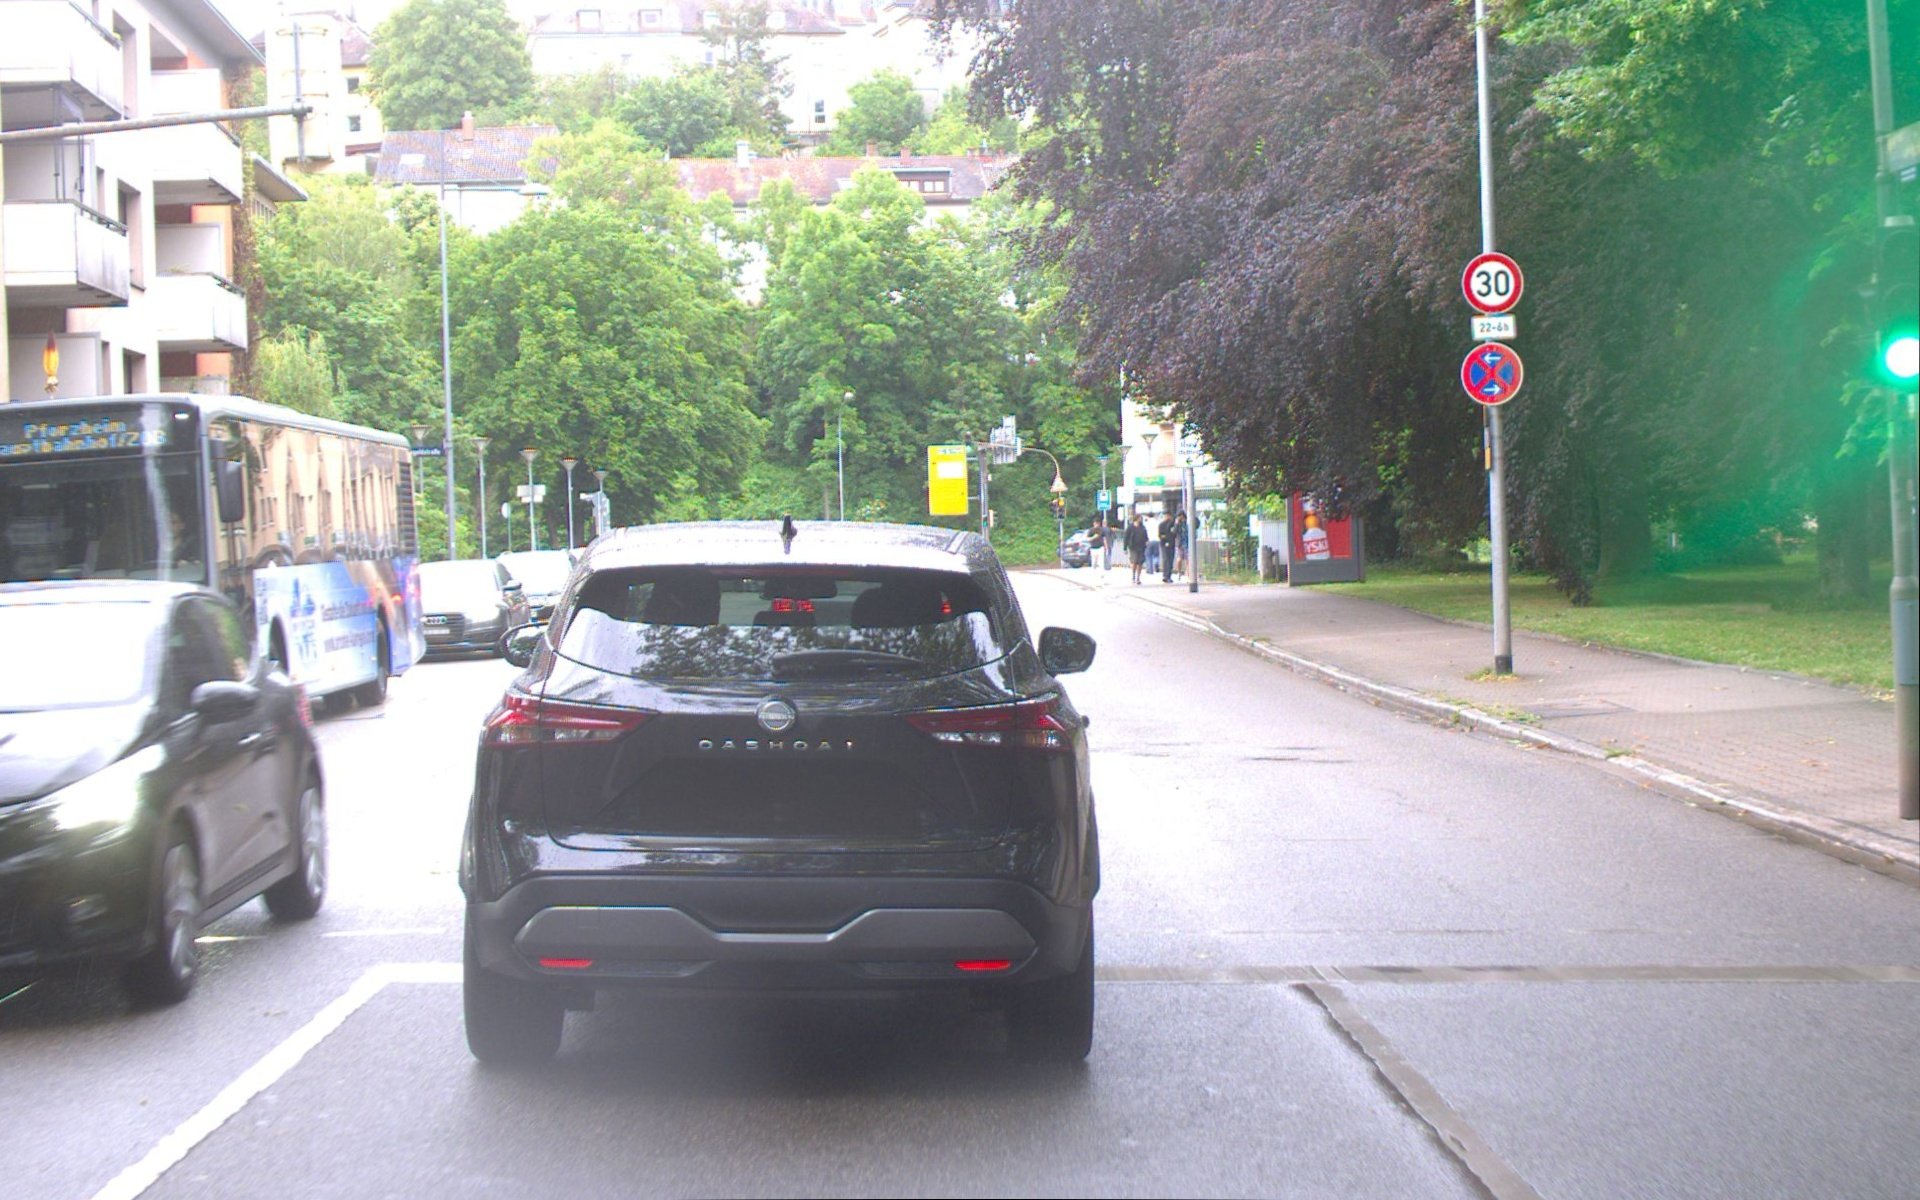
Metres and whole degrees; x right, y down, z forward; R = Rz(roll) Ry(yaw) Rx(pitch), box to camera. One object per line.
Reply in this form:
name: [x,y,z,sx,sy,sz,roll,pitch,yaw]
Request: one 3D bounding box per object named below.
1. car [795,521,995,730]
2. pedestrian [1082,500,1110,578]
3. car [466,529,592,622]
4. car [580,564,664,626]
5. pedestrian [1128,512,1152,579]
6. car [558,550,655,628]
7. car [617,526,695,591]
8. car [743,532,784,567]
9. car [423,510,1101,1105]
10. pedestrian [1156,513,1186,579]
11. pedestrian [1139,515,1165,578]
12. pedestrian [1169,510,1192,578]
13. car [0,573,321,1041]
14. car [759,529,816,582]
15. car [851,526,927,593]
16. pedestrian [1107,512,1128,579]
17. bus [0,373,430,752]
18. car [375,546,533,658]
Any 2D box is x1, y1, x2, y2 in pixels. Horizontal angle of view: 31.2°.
car: [-0.531,0.185,30.993,1.622,1.703,3.771,-2,1,1]
pedestrian: [3.815,-1.723,96.605,0.768,2.176,0.711,1,0,2]
car: [-7.467,-0.453,59.844,1.747,1.464,4.217,-3,1,-2]
car: [-7.897,-0.133,80.662,1.676,1.291,3.752,-3,1,-2]
pedestrian: [4.482,-1.352,85.493,0.544,1.645,0.490,1,0,0]
car: [-7.340,-0.246,71.645,1.676,1.464,4.217,-3,1,-2]
car: [-8.161,-1.135,92.441,1.750,1.628,3.635,-2,1,-1]
car: [-8.665,-2.216,151.881,1.718,1.463,3.686,-2,1,-3]
car: [-0.572,0.546,11.240,1.806,1.584,4.000,1,0,-1]
pedestrian: [5.256,-1.346,85.755,0.699,1.645,0.628,1,0,0]
pedestrian: [5.511,-1.529,98.514,0.618,1.773,0.778,-2,1,-1]
pedestrian: [5.396,-1.364,84.092,0.514,1.650,0.550,1,0,-1]
car: [-3.455,0.658,12.424,1.624,1.410,3.455,-2,1,0]
car: [-6.028,-1.571,120.397,1.763,1.752,3.635,-2,1,-1]
car: [-1.590,-0.923,77.839,1.624,1.410,3.455,-2,1,0]
pedestrian: [3.914,-1.358,85.468,0.475,1.645,0.490,1,0,0]
bus: [-7.344,-0.359,33.248,2.766,2.964,11.782,-2,1,-1]
car: [-7.345,-0.004,50.250,1.775,1.464,4.217,-3,1,-2]
